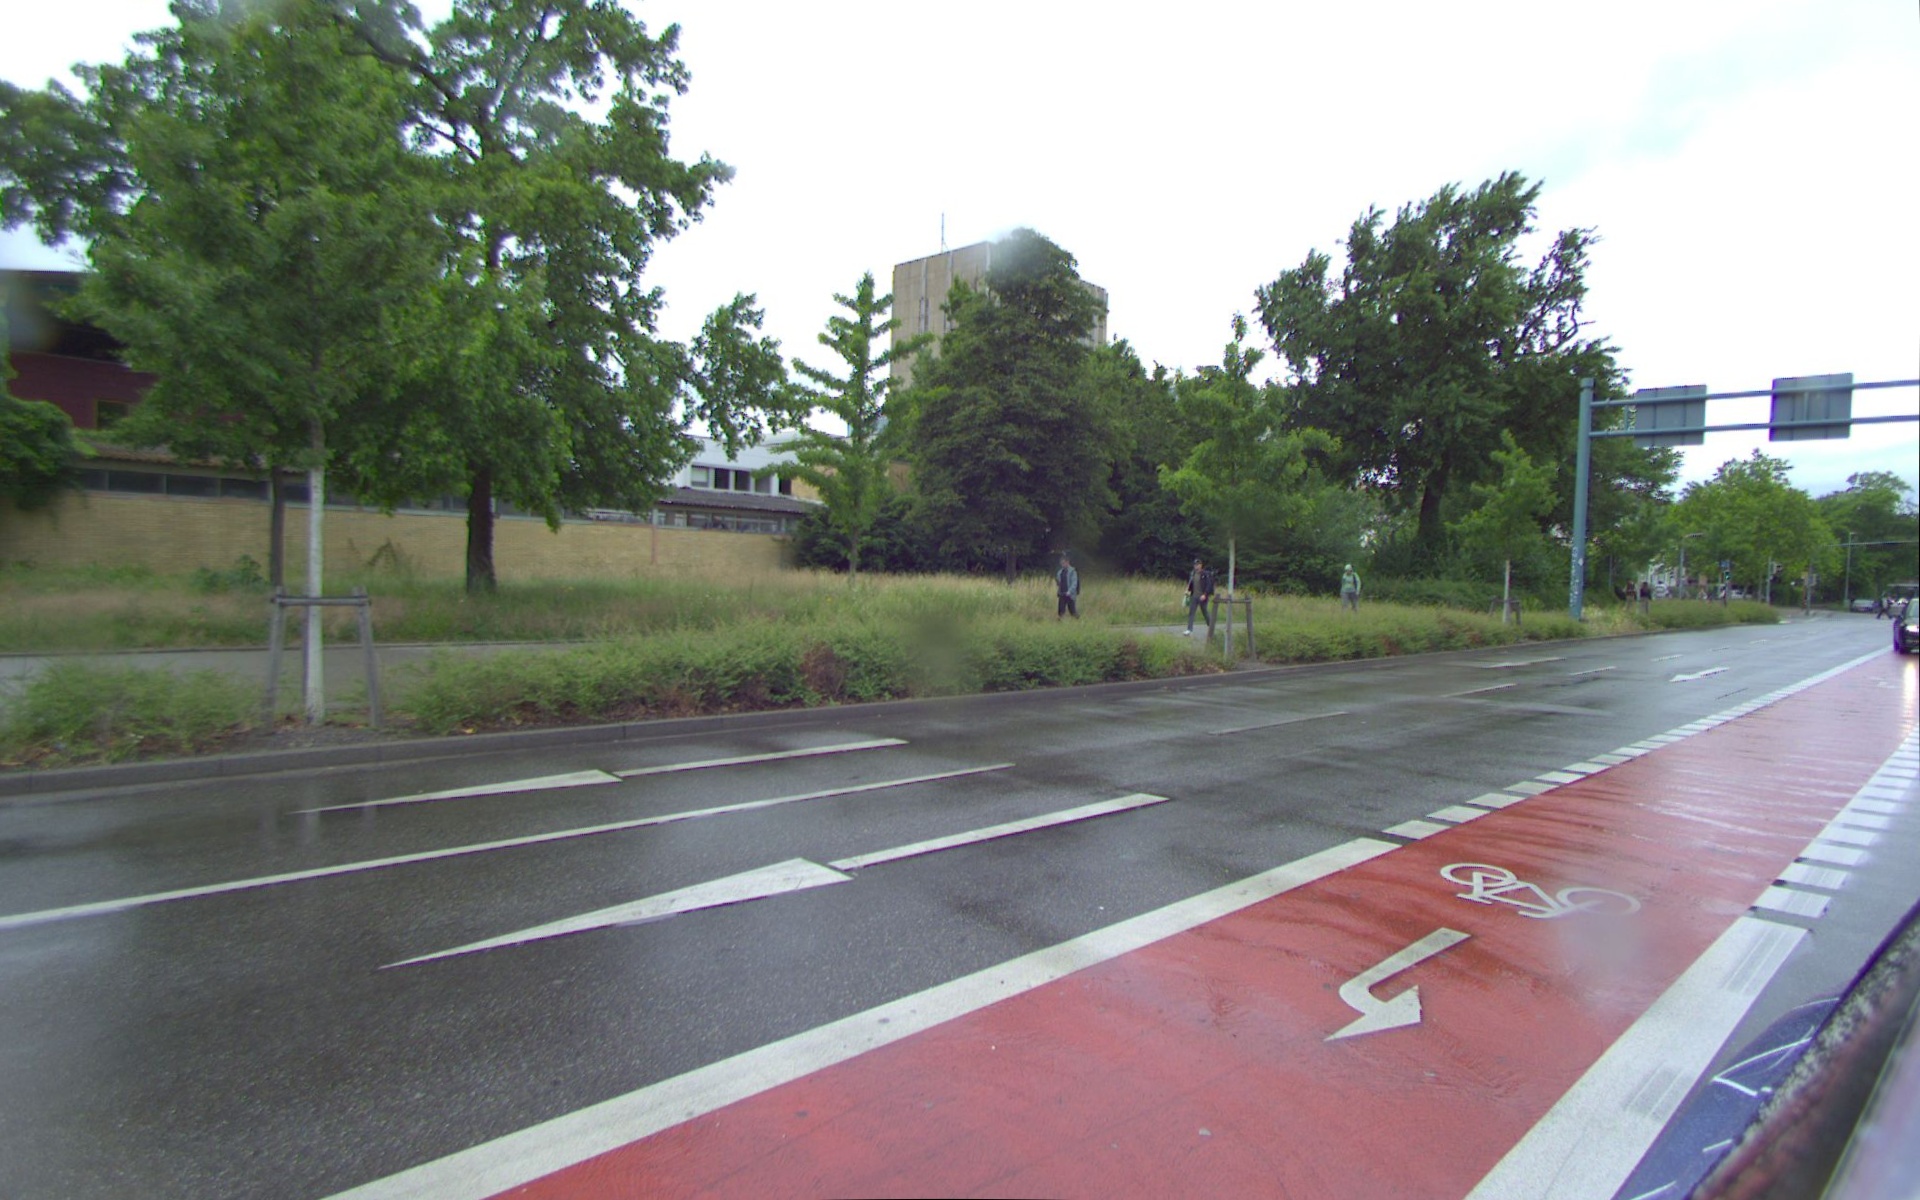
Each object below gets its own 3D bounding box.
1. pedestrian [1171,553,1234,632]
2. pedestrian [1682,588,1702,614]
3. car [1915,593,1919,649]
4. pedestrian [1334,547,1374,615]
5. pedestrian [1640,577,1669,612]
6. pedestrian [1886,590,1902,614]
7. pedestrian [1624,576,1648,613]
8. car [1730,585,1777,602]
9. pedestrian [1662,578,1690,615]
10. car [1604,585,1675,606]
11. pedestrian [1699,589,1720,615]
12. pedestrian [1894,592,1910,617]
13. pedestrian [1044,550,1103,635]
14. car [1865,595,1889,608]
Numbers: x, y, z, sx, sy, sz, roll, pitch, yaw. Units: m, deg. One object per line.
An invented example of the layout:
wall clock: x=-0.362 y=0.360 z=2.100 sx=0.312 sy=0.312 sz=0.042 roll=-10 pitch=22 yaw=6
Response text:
pedestrian: x=5.646 y=-0.181 z=23.583 sx=1.026 sy=1.769 sz=0.936 roll=1 pitch=2 yaw=-38
pedestrian: x=47.715 y=0.067 z=65.995 sx=0.869 sy=1.627 sz=0.855 roll=3 pitch=2 yaw=27
car: x=25.755 y=0.564 z=26.025 sx=1.657 sy=1.381 sz=4.042 roll=4 pitch=2 yaw=44
pedestrian: x=12.095 y=-0.592 z=31.073 sx=0.813 sy=2.038 sz=0.793 roll=1 pitch=2 yaw=-38
pedestrian: x=34.559 y=-0.274 z=50.367 sx=0.814 sy=1.725 sz=0.935 roll=4 pitch=-2 yaw=-39
pedestrian: x=70.896 y=0.149 z=76.788 sx=0.783 sy=1.847 sz=0.615 roll=3 pitch=2 yaw=40
pedestrian: x=34.586 y=-0.276 z=51.779 sx=0.835 sy=1.882 sz=0.732 roll=1 pitch=2 yaw=-38
car: x=97.509 y=-0.835 z=124.398 sx=4.405 sy=1.895 sz=1.615 roll=3 pitch=2 yaw=39
pedestrian: x=35.082 y=-0.169 z=49.590 sx=0.814 sy=1.743 sz=0.935 roll=4 pitch=-2 yaw=-39
car: x=53.392 y=-0.376 z=79.562 sx=4.375 sy=1.353 sz=1.747 roll=4 pitch=5 yaw=43
pedestrian: x=48.550 y=0.112 z=65.594 sx=0.868 sy=1.627 sz=0.857 roll=3 pitch=2 yaw=24
pedestrian: x=71.979 y=0.358 z=77.354 sx=0.783 sy=1.847 sz=0.616 roll=3 pitch=2 yaw=38
pedestrian: x=2.497 y=-0.168 z=22.335 sx=0.813 sy=1.819 sz=0.936 roll=1 pitch=2 yaw=-37
car: x=96.341 y=0.129 z=106.316 sx=1.657 sy=1.282 sz=4.042 roll=4 pitch=3 yaw=44
